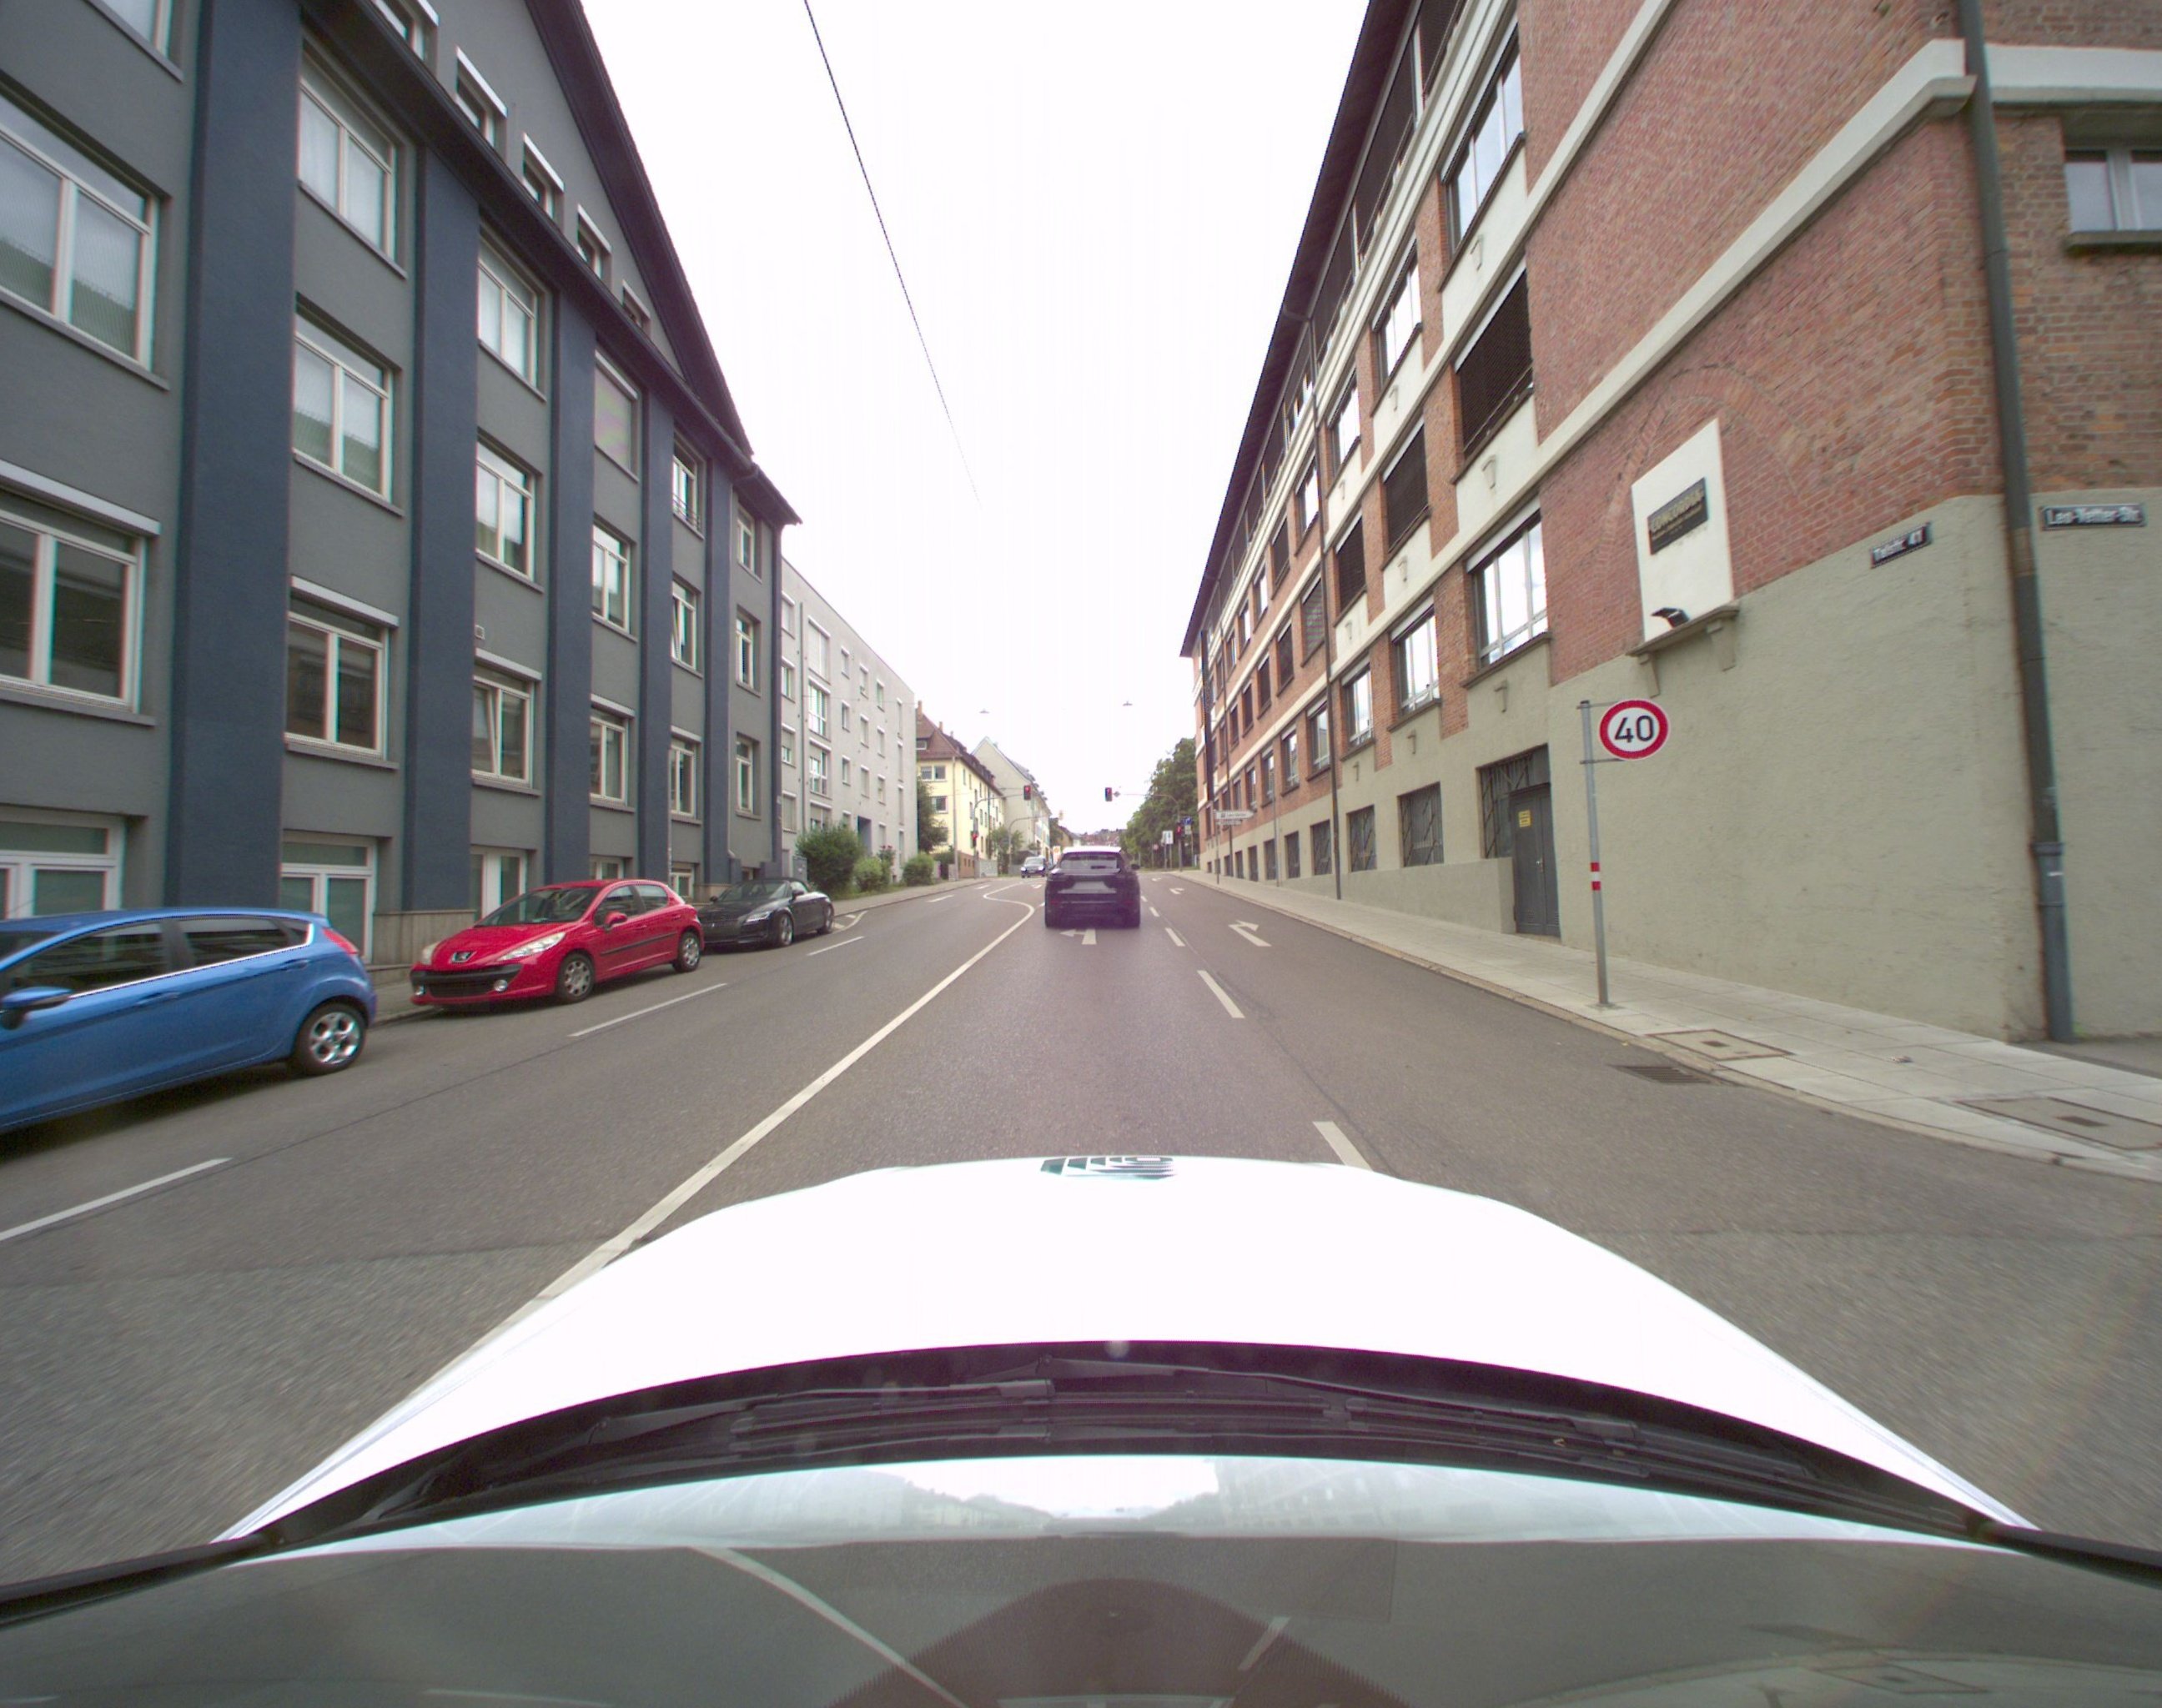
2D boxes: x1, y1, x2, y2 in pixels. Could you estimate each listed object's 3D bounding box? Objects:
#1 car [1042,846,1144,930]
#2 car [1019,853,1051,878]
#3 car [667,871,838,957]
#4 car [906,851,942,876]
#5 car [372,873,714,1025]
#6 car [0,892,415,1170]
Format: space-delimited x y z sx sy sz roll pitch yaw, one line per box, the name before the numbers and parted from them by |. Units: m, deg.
car | 0.170 0.669 18.189 2.019 1.641 4.352 0 0 -2
car | -3.549 0.866 63.673 1.889 1.691 4.004 -4 0 3
car | -6.475 1.126 16.574 1.708 1.341 3.906 -4 0 2
car | -11.829 0.672 61.532 1.838 1.691 4.000 -4 0 0
car | -6.844 1.099 10.978 1.707 1.456 3.993 -4 0 3
car | -6.997 1.127 5.397 1.708 1.423 3.991 -4 0 2
